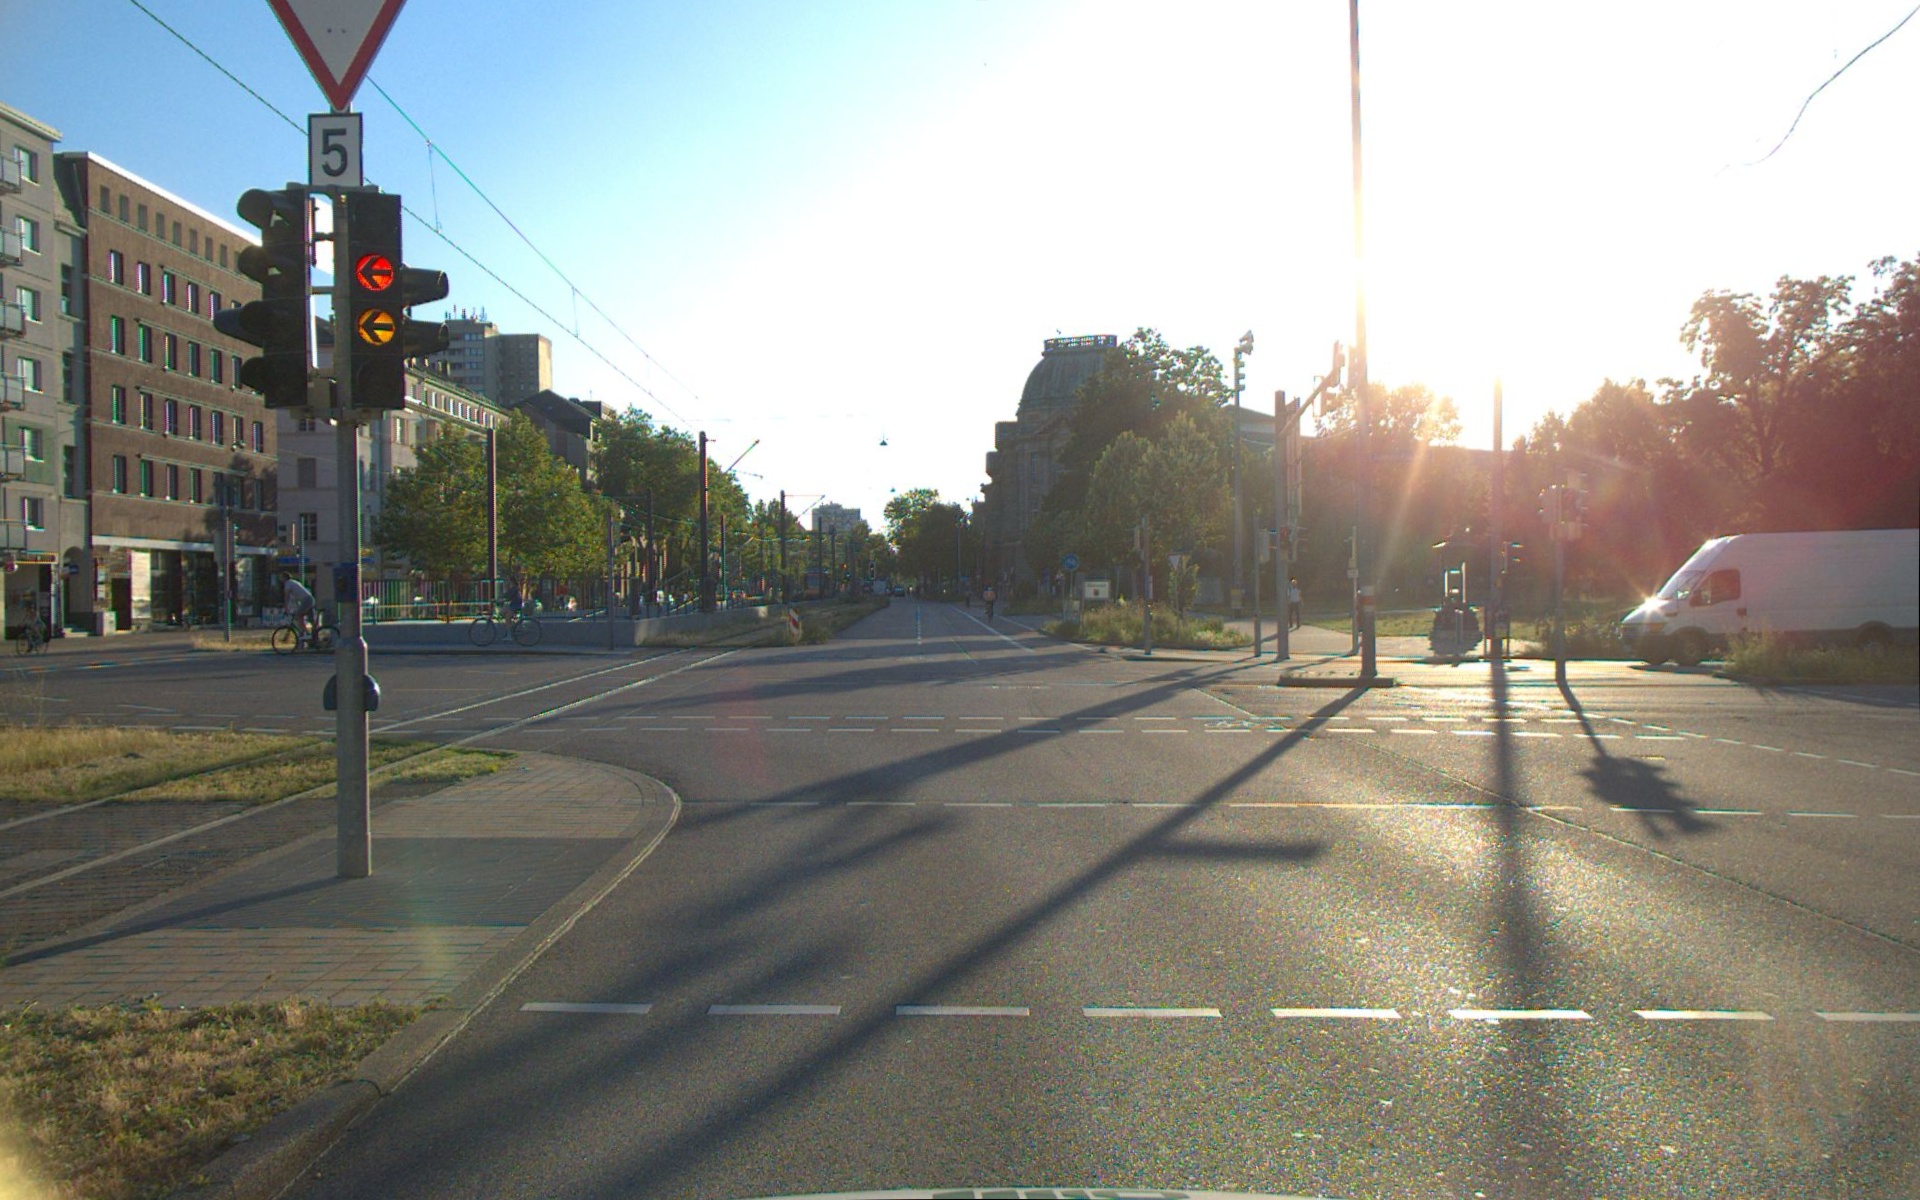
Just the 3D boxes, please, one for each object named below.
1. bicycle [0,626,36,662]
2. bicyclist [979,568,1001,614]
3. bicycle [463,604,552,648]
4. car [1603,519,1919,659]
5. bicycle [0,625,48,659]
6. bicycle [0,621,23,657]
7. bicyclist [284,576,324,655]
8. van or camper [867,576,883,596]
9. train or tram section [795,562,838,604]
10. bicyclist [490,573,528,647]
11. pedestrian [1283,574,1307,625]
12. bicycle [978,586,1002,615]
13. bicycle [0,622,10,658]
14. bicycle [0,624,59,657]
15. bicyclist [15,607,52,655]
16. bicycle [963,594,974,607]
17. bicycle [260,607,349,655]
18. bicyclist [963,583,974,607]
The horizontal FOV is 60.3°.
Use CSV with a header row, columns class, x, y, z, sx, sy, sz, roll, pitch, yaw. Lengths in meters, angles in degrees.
class,x,y,z,sx,sy,sz,roll,pitch,yaw
bicycle,-32.877,1.514,57.006,1.655,1.190,0.748,-1,0,1
bicyclist,1.511,-0.434,83.911,1.060,2.316,0.986,0,0,-1
bicycle,-11.489,0.651,42.041,2.124,1.102,0.537,0,-1,-10
car,17.768,-0.252,35.778,6.866,2.877,2.093,-1,0,1
bicycle,-32.848,1.468,57.738,1.655,1.164,0.697,-1,0,1
bicycle,-32.894,1.334,56.231,1.655,1.199,0.748,-1,0,1
bicyclist,-15.562,0.357,39.247,0.779,1.850,0.644,-1,0,-14
van or camper,-12.398,-2.028,241.398,2.400,2.819,5.598,-1,0,-3
train or tram section,-14.772,-1.823,170.608,4.301,3.916,11.401,-1,2,-5
bicyclist,-11.467,0.251,42.036,0.860,1.850,0.537,0,0,-10
pedestrian,12.218,-0.022,60.302,0.815,1.835,0.811,-1,0,14
bicycle,1.513,0.014,83.997,1.075,1.423,2.831,-1,0,-1
bicycle,-32.913,1.345,55.471,1.655,1.173,0.705,-1,0,1
bicycle,-28.679,1.240,50.902,0.498,0.961,1.667,-1,0,26
bicyclist,-28.601,0.966,51.072,0.489,1.451,0.857,-1,0,25
bicycle,0.745,0.046,142.558,0.905,1.131,2.332,0,0,-1
bicycle,-15.542,0.734,39.254,1.869,1.094,0.630,-1,0,-15
bicyclist,0.749,-0.401,142.595,0.907,2.049,0.850,0,0,-1
